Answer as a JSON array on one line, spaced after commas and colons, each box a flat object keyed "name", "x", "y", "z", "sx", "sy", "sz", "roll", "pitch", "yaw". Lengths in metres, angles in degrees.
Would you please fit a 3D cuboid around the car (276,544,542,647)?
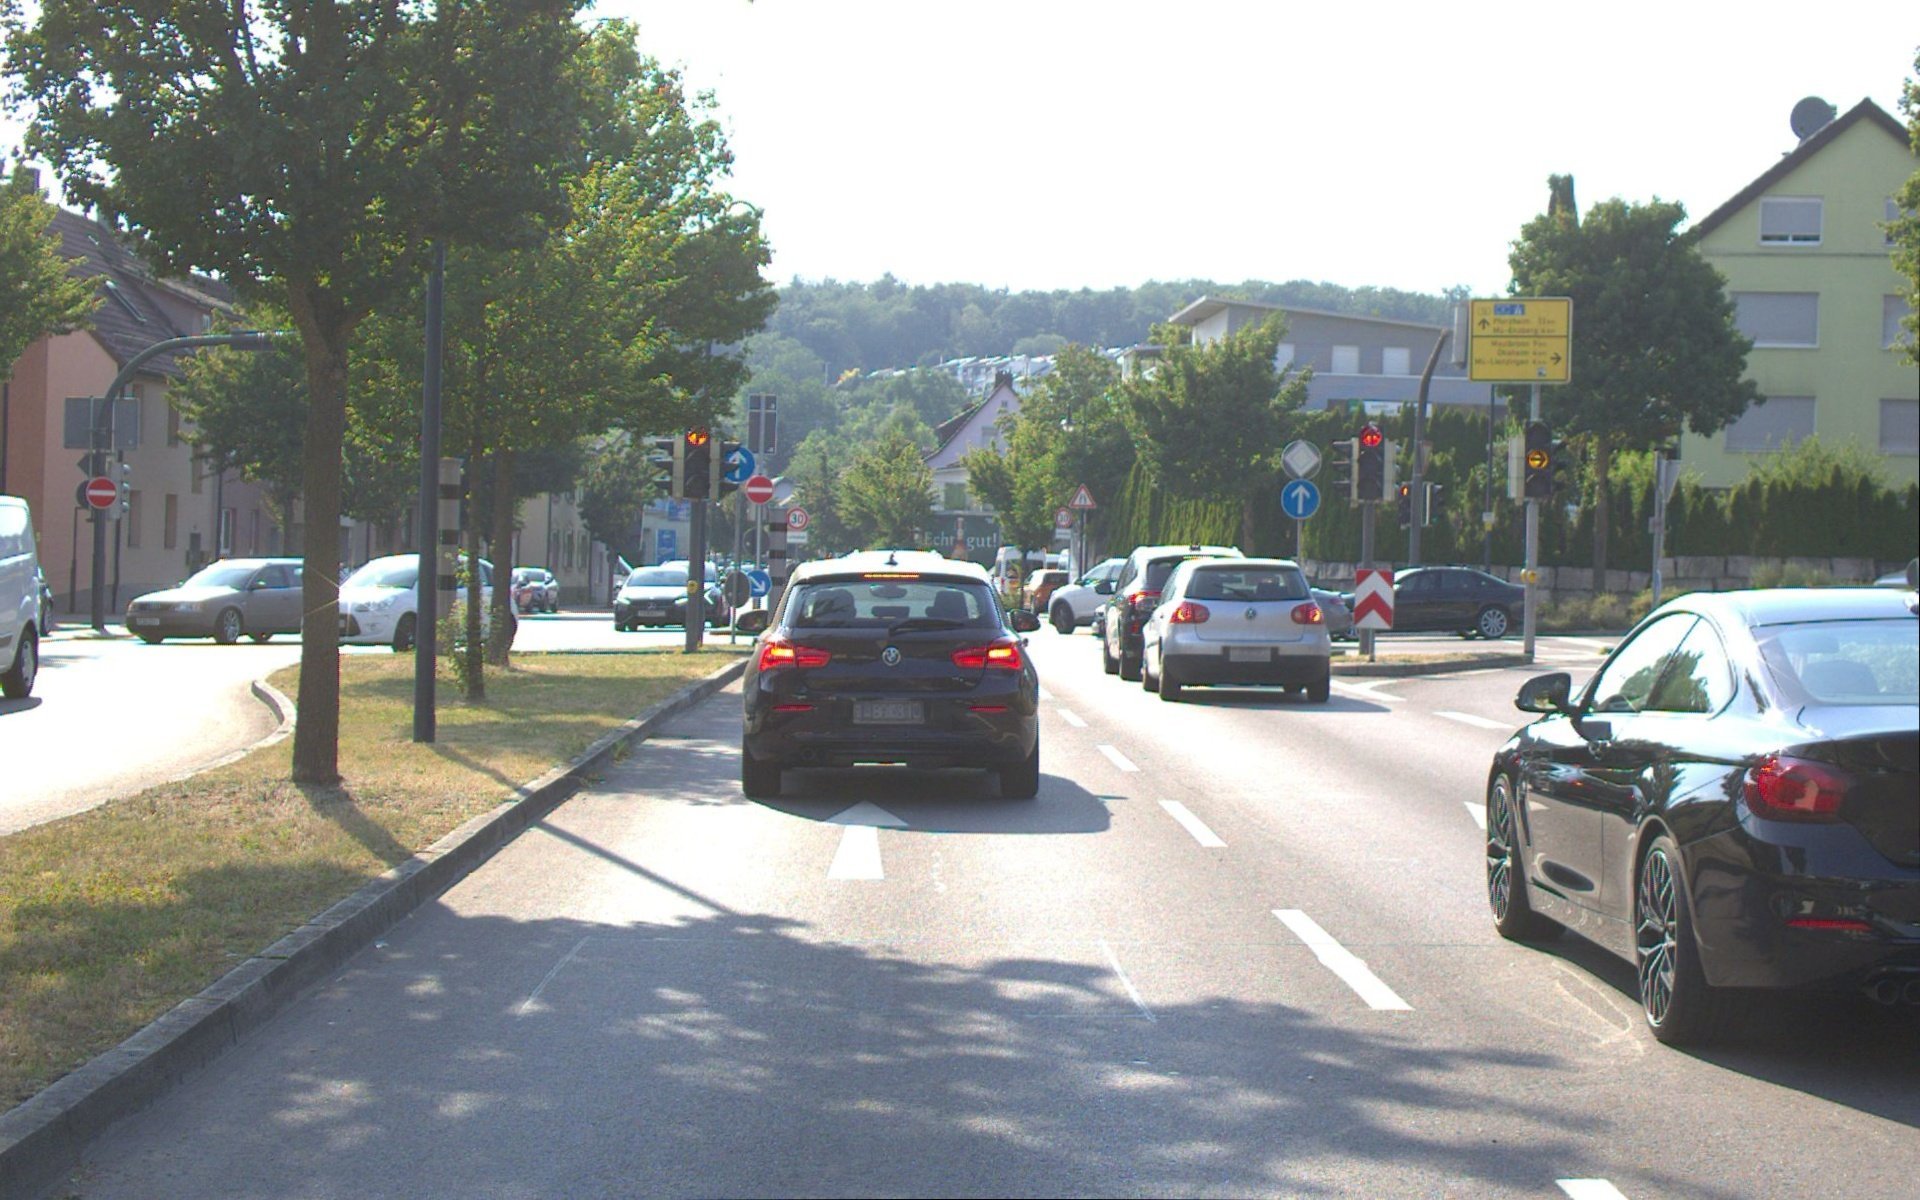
[{"name": "car", "x": -8.310, "y": -0.088, "z": 52.131, "sx": 1.804, "sy": 1.492, "sz": 3.948, "roll": 1, "pitch": 1, "yaw": 33}]

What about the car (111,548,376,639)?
[{"name": "car", "x": -12.105, "y": -0.122, "z": 58.383, "sx": 1.689, "sy": 1.457, "sz": 4.703, "roll": 1, "pitch": 1, "yaw": 30}]

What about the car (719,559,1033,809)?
[{"name": "car", "x": -0.474, "y": 0.453, "z": 21.874, "sx": 1.790, "sy": 1.410, "sz": 4.347, "roll": 0, "pitch": 1, "yaw": 0}]

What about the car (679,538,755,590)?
[{"name": "car", "x": -6.506, "y": -0.964, "z": 92.331, "sx": 1.693, "sy": 1.348, "sz": 4.000, "roll": 1, "pitch": 1, "yaw": 0}]

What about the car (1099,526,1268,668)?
[{"name": "car", "x": 2.720, "y": -0.069, "z": 42.666, "sx": 1.816, "sy": 1.660, "sz": 4.347, "roll": 0, "pitch": 1, "yaw": 0}]

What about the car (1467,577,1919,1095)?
[{"name": "car", "x": 2.944, "y": 0.638, "z": 11.614, "sx": 1.816, "sy": 1.384, "sz": 4.347, "roll": 0, "pitch": 1, "yaw": 0}]

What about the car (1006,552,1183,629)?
[{"name": "car", "x": 3.022, "y": -0.230, "z": 78.424, "sx": 1.890, "sy": 1.696, "sz": 4.524, "roll": -1, "pitch": 1, "yaw": -30}]

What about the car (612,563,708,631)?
[{"name": "car", "x": -6.721, "y": -0.092, "z": 77.351, "sx": 1.766, "sy": 1.453, "sz": 4.000, "roll": 1, "pitch": 1, "yaw": 0}]

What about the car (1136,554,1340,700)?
[{"name": "car", "x": 2.889, "y": 0.241, "z": 36.506, "sx": 1.816, "sy": 1.441, "sz": 4.347, "roll": 0, "pitch": 1, "yaw": 0}]

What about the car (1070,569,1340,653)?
[{"name": "car", "x": 4.347, "y": 0.190, "z": 61.349, "sx": 4.462, "sy": 1.344, "sz": 1.787, "roll": 0, "pitch": 4, "yaw": -10}]

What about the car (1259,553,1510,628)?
[{"name": "car", "x": 8.386, "y": -0.187, "z": 68.124, "sx": 4.628, "sy": 1.417, "sz": 1.849, "roll": 1, "pitch": 1, "yaw": -6}]

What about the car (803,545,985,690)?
[{"name": "car", "x": -0.660, "y": 0.146, "z": 36.769, "sx": 1.816, "sy": 1.446, "sz": 4.242, "roll": 0, "pitch": 1, "yaw": 0}]

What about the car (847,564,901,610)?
[{"name": "car", "x": -3.097, "y": -0.481, "z": 123.819, "sx": 1.924, "sy": 1.590, "sz": 4.000, "roll": 1, "pitch": 1, "yaw": -1}]

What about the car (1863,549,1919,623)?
[{"name": "car", "x": 21.150, "y": -0.288, "z": 71.509, "sx": 4.643, "sy": 1.480, "sz": 1.868, "roll": 0, "pitch": 1, "yaw": -31}]

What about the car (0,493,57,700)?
[{"name": "car", "x": -9.818, "y": -0.035, "z": 31.652, "sx": 1.823, "sy": 1.917, "sz": 4.945, "roll": 0, "pitch": 1, "yaw": -2}]
